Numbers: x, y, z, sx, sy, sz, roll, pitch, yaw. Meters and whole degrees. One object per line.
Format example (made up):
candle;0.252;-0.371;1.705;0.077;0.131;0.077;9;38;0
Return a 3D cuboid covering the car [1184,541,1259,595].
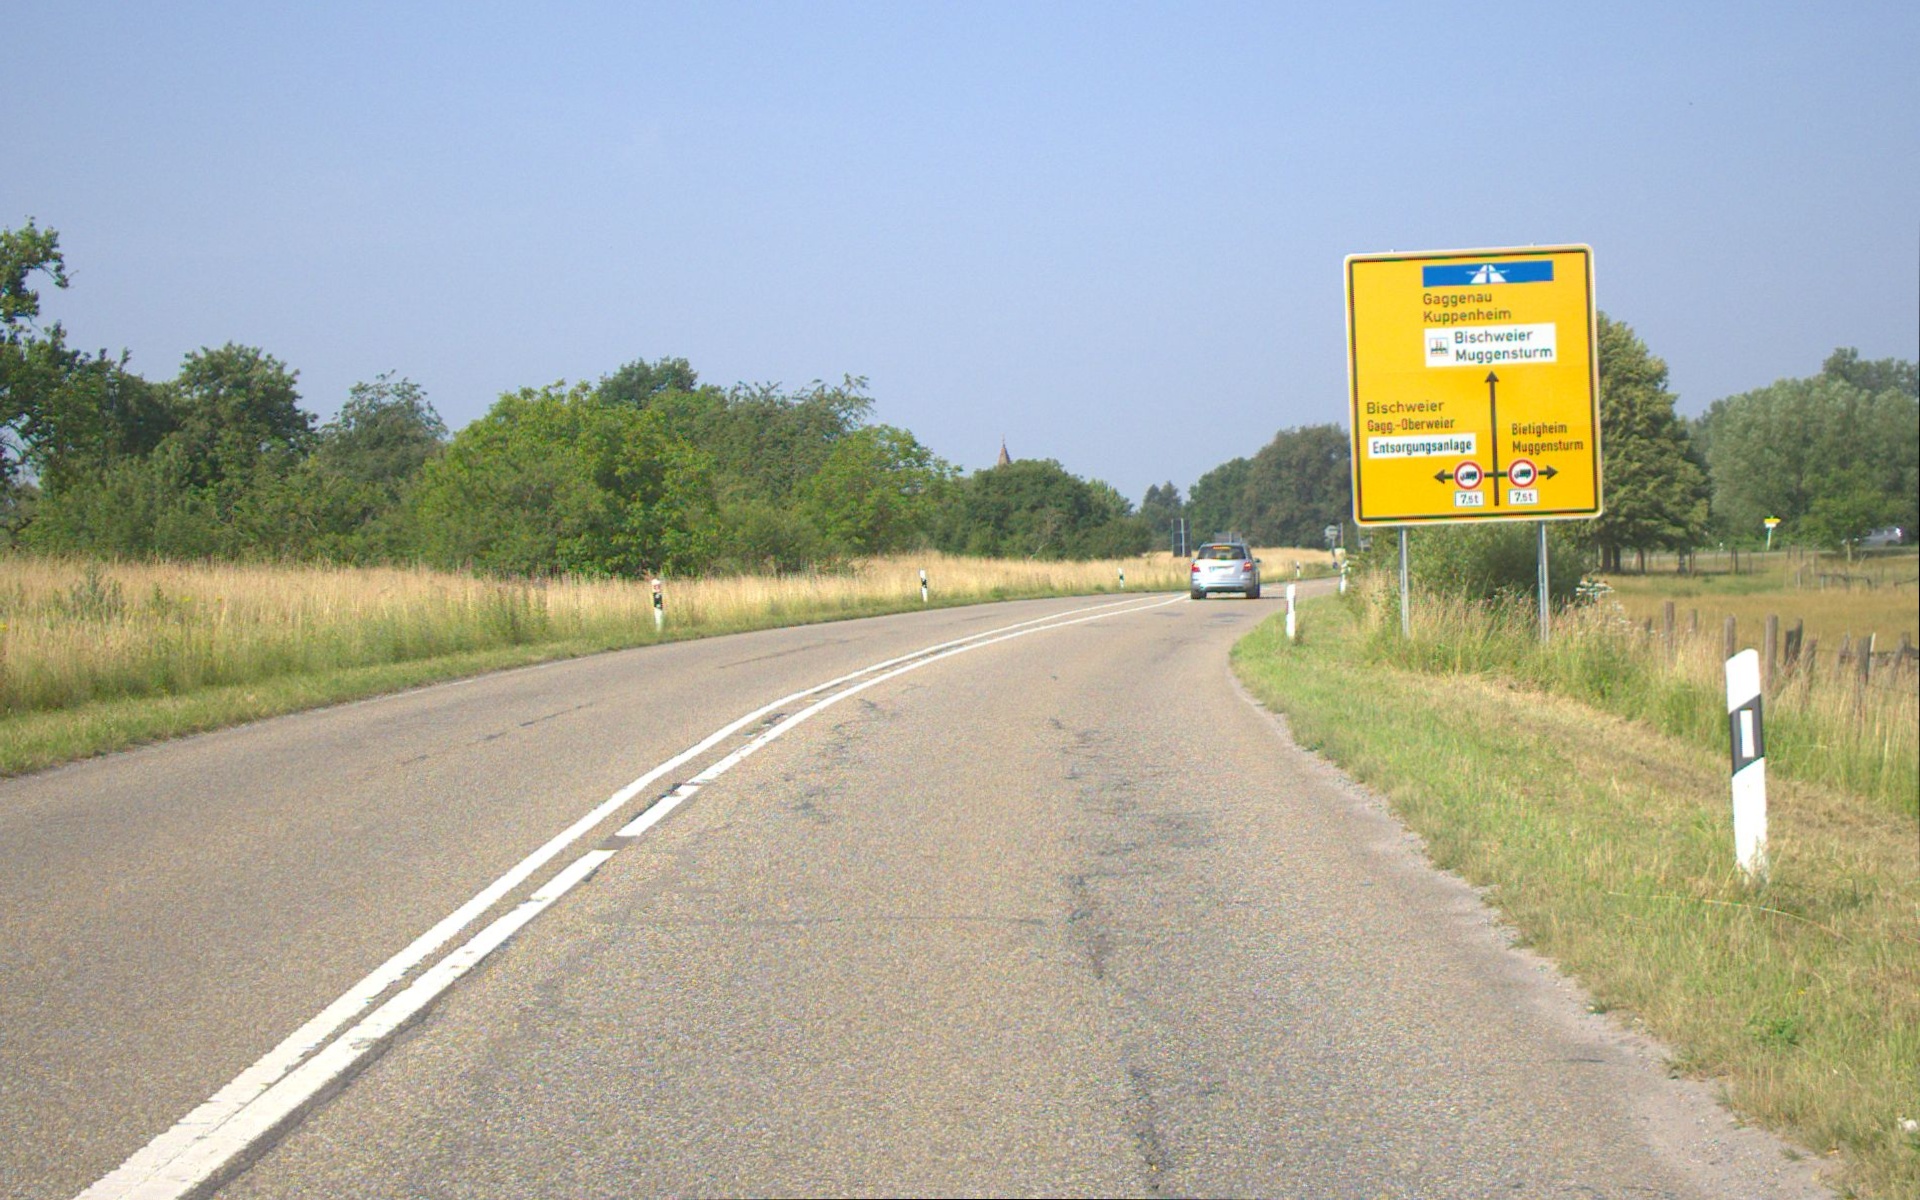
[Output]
car;7.572;-0.933;99.293;1.900;1.506;3.999;0;1;8
